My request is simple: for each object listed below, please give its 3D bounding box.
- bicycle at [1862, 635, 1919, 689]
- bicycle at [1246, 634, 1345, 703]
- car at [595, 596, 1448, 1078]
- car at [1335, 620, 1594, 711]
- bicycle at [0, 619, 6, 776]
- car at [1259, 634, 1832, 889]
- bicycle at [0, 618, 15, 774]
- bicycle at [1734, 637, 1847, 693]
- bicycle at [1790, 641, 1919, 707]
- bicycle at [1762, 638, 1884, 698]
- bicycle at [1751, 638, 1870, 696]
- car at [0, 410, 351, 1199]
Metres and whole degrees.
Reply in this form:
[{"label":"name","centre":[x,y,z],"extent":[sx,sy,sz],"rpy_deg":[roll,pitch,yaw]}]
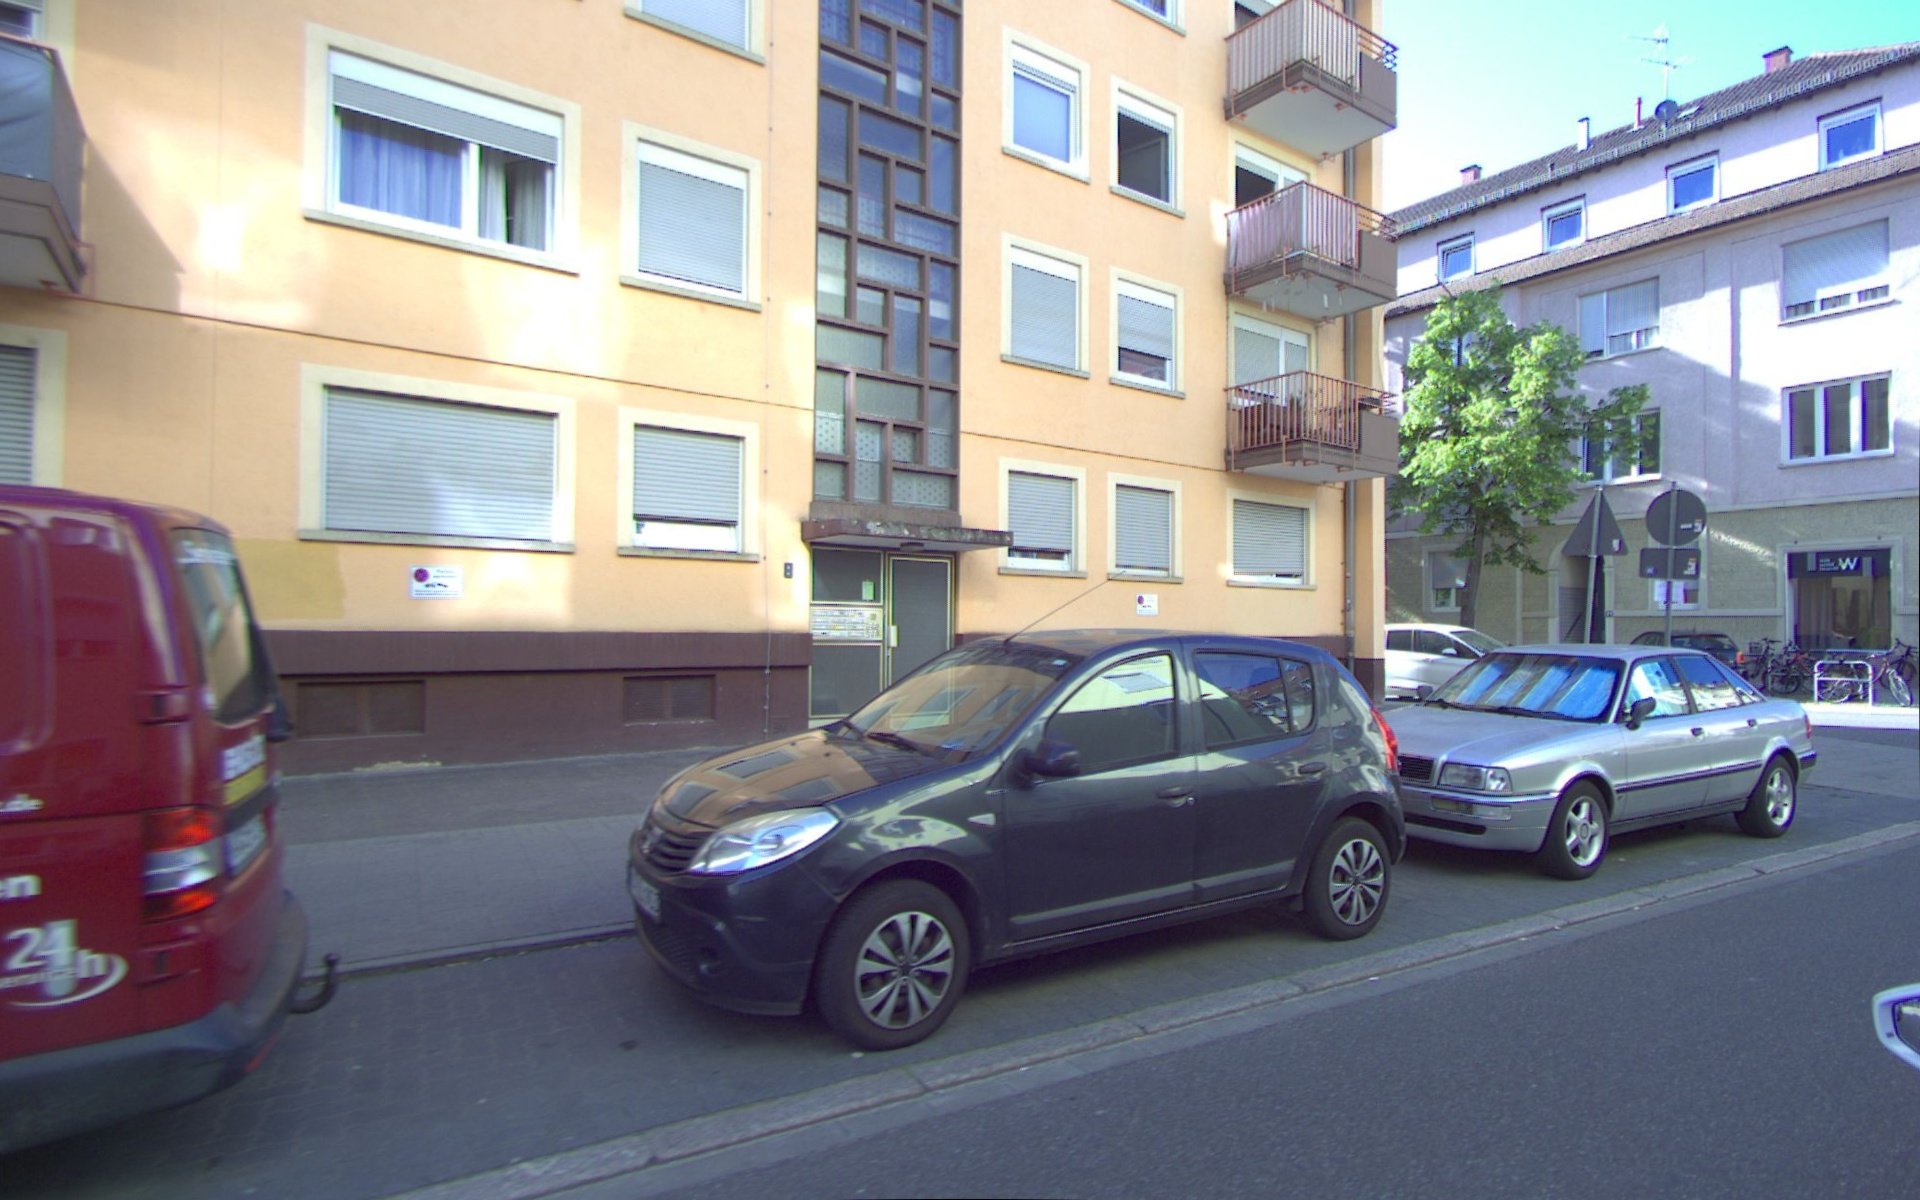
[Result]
[{"label":"bicycle","centre":[21.478,1.395,22.438],"extent":[0.642,1.151,1.885],"rpy_deg":[-1,1,-36]},{"label":"bicycle","centre":[5.574,1.111,16.630],"extent":[1.873,1.078,0.500],"rpy_deg":[1,1,-34]},{"label":"car","centre":[0.429,0.812,4.988],"extent":[3.955,1.522,1.754],"rpy_deg":[1,-2,-32]},{"label":"car","centre":[10.005,1.217,20.259],"extent":[1.711,1.614,4.402],"rpy_deg":[1,-1,-36]},{"label":"bicycle","centre":[-7.539,0.682,6.630],"extent":[1.746,1.128,0.339],"rpy_deg":[1,-1,-36]},{"label":"car","centre":[4.504,0.987,7.562],"extent":[4.424,1.396,1.755],"rpy_deg":[1,-1,-30]},{"label":"bicycle","centre":[-7.767,0.681,6.940],"extent":[1.746,1.128,0.339],"rpy_deg":[1,-1,-36]},{"label":"bicycle","centre":[18.504,1.426,22.420],"extent":[0.520,1.150,1.888],"rpy_deg":[-1,0,-31]},{"label":"bicycle","centre":[17.787,1.445,19.961],"extent":[0.640,1.151,1.890],"rpy_deg":[-1,1,-28]},{"label":"bicycle","centre":[18.021,1.398,21.024],"extent":[0.519,1.150,1.891],"rpy_deg":[-1,0,-28]},{"label":"bicycle","centre":[18.272,1.411,21.629],"extent":[0.520,1.150,1.888],"rpy_deg":[-1,0,-31]},{"label":"car","centre":[-4.233,0.493,2.197],"extent":[4.877,1.951,1.754],"rpy_deg":[1,-1,-31]}]
